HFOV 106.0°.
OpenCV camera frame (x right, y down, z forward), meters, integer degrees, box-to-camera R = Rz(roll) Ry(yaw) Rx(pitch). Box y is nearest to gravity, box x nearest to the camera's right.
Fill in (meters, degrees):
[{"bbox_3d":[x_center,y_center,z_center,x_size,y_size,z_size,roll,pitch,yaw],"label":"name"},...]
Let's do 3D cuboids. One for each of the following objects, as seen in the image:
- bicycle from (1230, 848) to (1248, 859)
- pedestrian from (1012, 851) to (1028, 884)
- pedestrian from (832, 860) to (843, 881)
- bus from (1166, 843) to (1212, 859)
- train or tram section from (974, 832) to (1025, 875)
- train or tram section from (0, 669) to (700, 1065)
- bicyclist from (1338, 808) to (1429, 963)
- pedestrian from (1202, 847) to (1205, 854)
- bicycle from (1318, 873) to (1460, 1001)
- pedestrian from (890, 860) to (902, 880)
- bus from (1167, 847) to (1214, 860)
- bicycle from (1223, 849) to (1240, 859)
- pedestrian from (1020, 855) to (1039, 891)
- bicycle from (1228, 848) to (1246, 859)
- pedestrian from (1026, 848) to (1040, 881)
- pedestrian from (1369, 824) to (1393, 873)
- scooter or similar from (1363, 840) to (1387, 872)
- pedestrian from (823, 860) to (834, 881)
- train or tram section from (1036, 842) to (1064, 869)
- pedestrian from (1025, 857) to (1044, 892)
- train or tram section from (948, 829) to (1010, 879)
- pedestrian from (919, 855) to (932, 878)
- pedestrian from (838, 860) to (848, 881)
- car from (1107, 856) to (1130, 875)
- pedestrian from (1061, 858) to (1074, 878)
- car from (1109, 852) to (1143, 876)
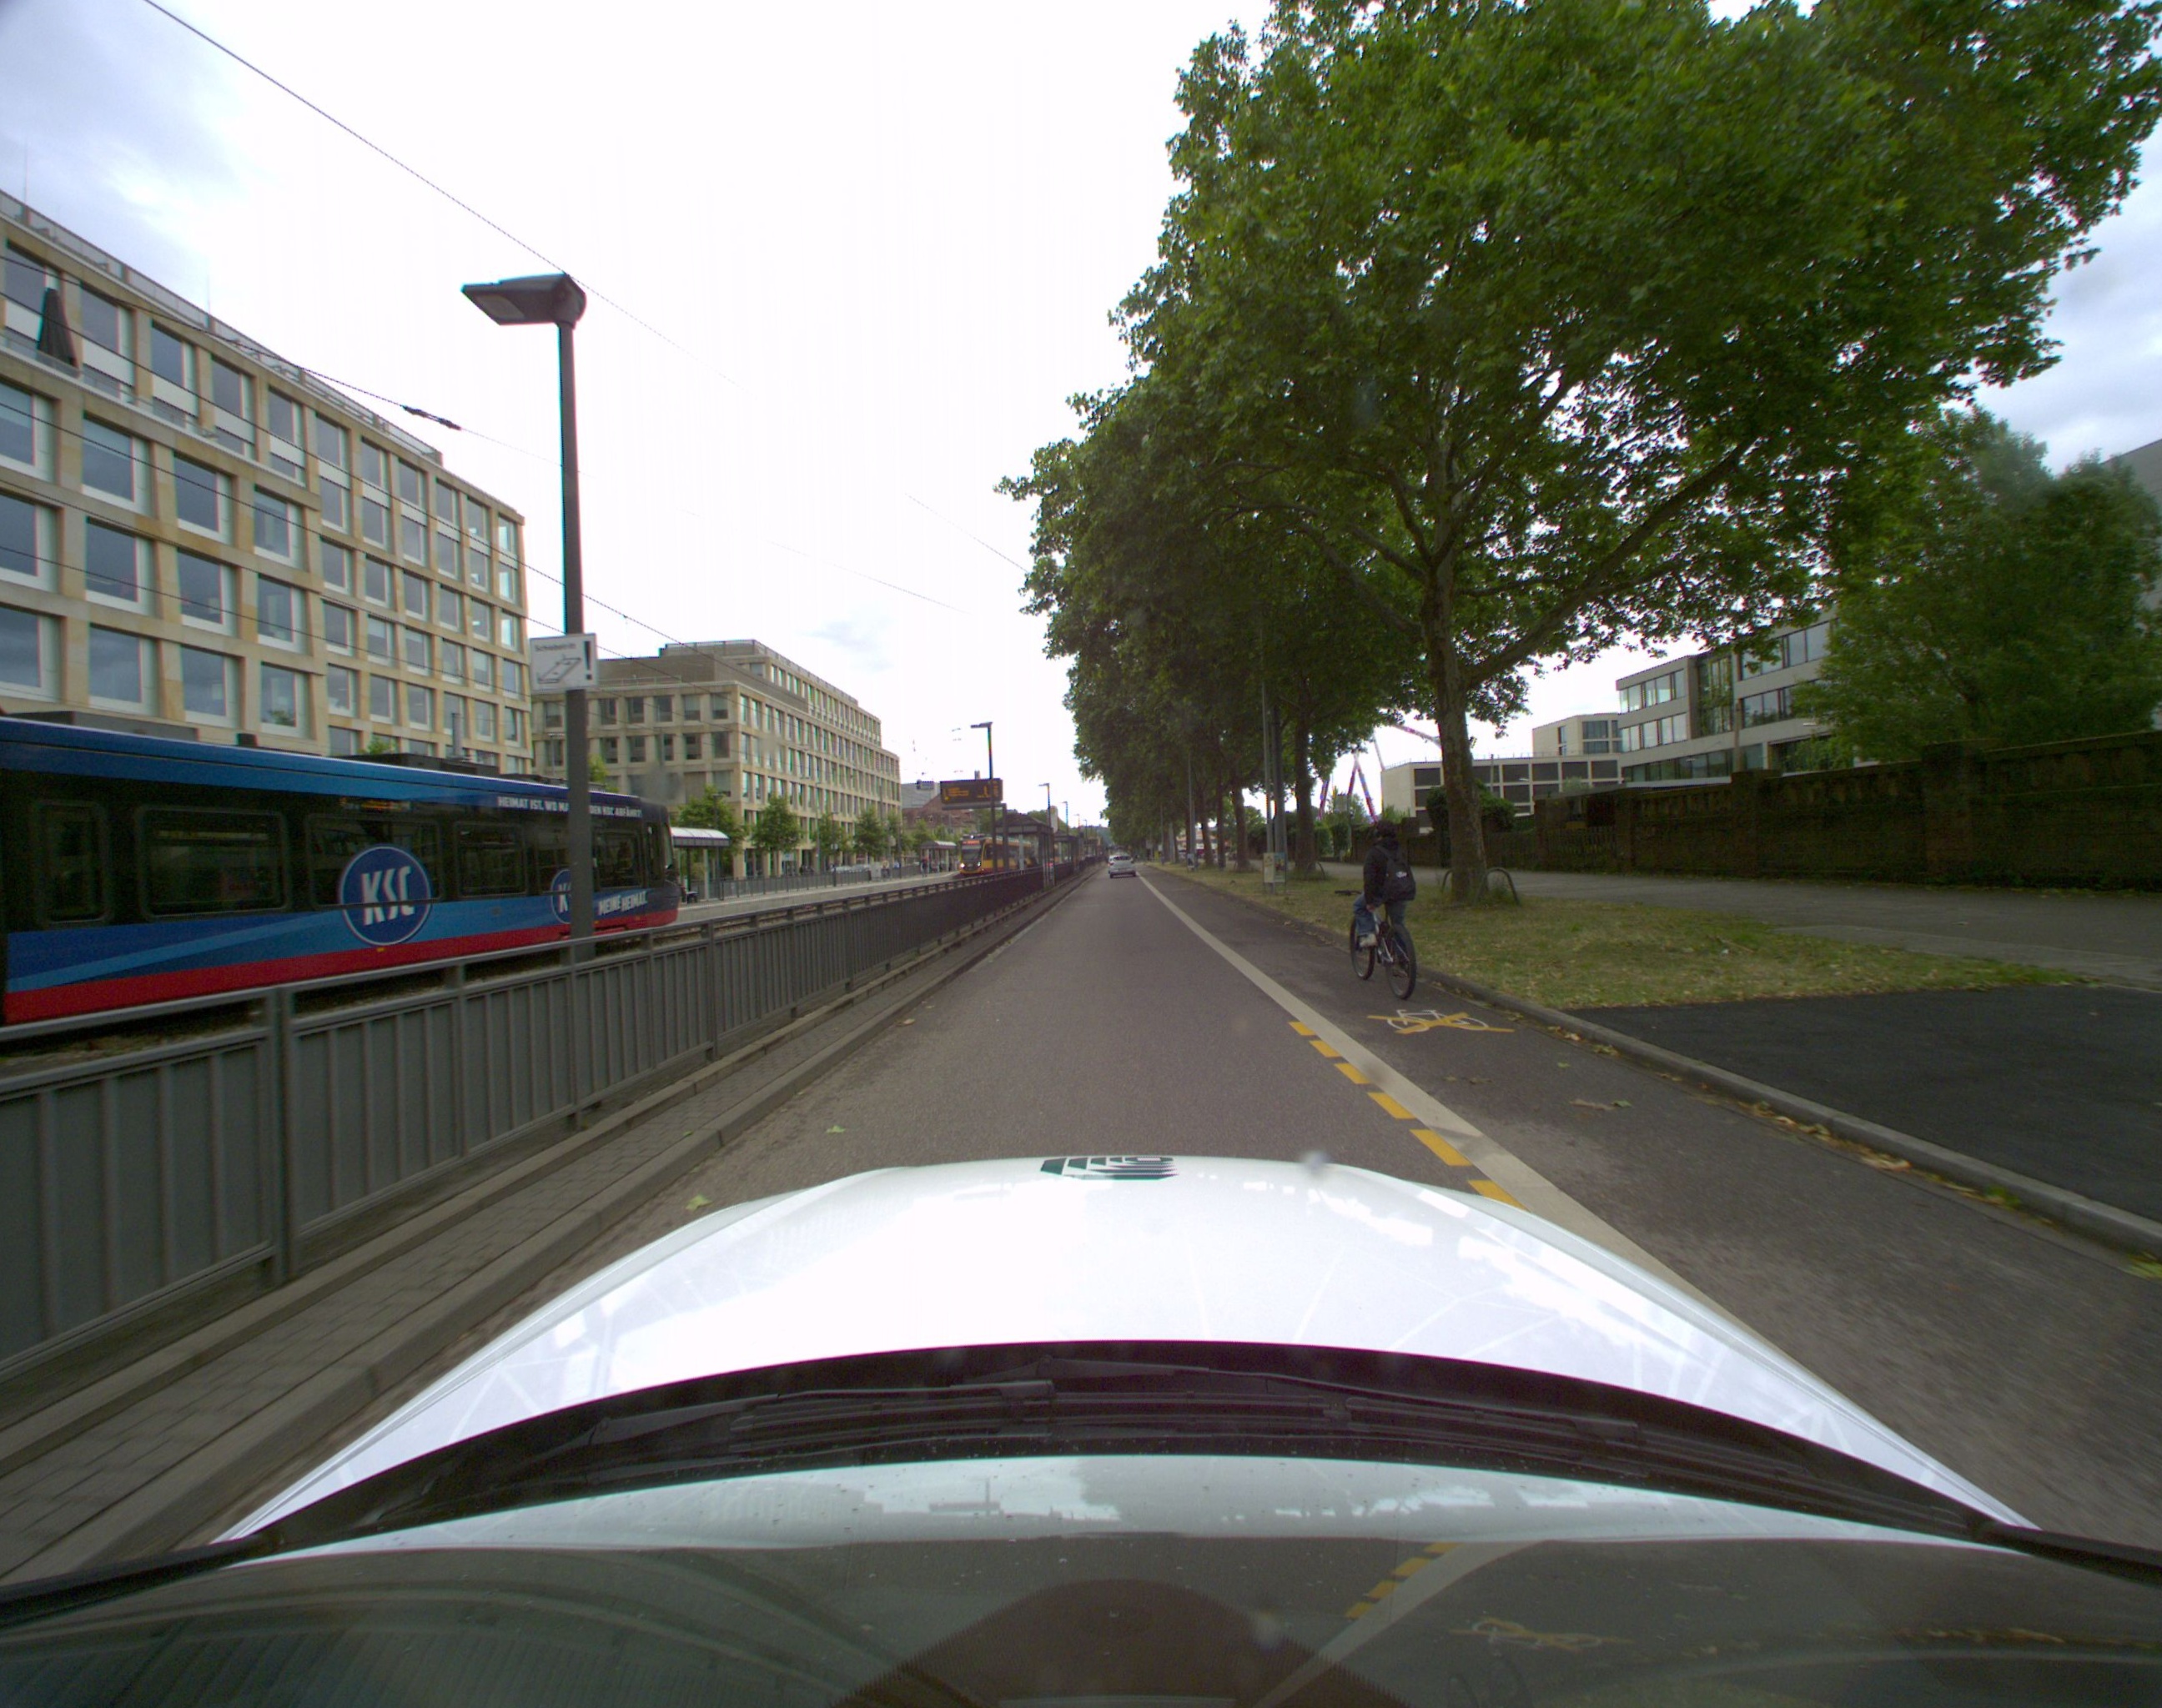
[{"bbox_3d":[17.930,-0.019,92.496,1.883,1.105,0.550,-4,-1,0],"label":"bicycle"},{"bbox_3d":[-3.335,0.735,44.617,0.670,1.793,1.109,-2,-1,-10],"label":"pedestrian"},{"bbox_3d":[-23.412,1.601,78.200,0.710,2.014,0.725,-3,-1,2],"label":"pedestrian"},{"bbox_3d":[22.594,-0.564,170.085,9.247,2.960,2.000,-3,-1,0],"label":"bus"},{"bbox_3d":[-8.052,0.011,82.210,3.150,3.862,11.320,-3,-1,3],"label":"train or tram section"},{"bbox_3d":[-11.277,0.246,13.715,2.844,3.692,13.525,-3,-1,2],"label":"train or tram section"},{"bbox_3d":[3.152,0.318,8.540,0.638,1.531,0.664,-3,-1,0],"label":"bicyclist"},{"bbox_3d":[24.119,-0.710,160.691,0.491,1.463,0.523,-3,-1,0],"label":"pedestrian"},{"bbox_3d":[3.219,0.805,8.780,0.650,1.150,2.283,-3,-1,1],"label":"bicycle"},{"bbox_3d":[-19.161,1.700,84.416,0.929,2.014,1.033,-3,-1,1],"label":"pedestrian"},{"bbox_3d":[22.453,-0.022,166.651,9.247,2.227,2.000,-3,-1,0],"label":"bus"},{"bbox_3d":[18.035,0.023,97.656,1.915,1.091,0.550,-4,-1,0],"label":"bicycle"},{"bbox_3d":[-1.975,0.720,31.191,0.608,1.341,0.600,-3,-1,3],"label":"pedestrian"},{"bbox_3d":[17.956,-0.028,93.712,1.967,1.094,0.550,-4,-1,0],"label":"bicycle"},{"bbox_3d":[-2.701,0.581,45.641,0.669,1.793,1.111,-3,-1,-6],"label":"pedestrian"},{"bbox_3d":[12.636,-0.222,34.329,0.581,2.014,0.924,-3,-1,2],"label":"pedestrian"},{"bbox_3d":[12.768,0.087,35.382,0.574,1.354,1.156,-3,-1,2],"label":"scooter or similar"},{"bbox_3d":[-24.497,1.563,78.953,0.710,2.014,0.725,-3,-1,2],"label":"pedestrian"},{"bbox_3d":[-5.113,0.250,138.224,3.167,4.179,14.745,-3,-1,3],"label":"train or tram section"},{"bbox_3d":[-1.859,0.813,32.473,0.608,1.372,0.600,-3,-1,3],"label":"pedestrian"},{"bbox_3d":[-8.678,0.052,70.857,3.224,3.862,11.320,-3,-1,3],"label":"train or tram section"},{"bbox_3d":[-12.214,0.989,64.017,0.709,1.795,1.161,-3,-1,1],"label":"pedestrian"},{"bbox_3d":[-23.361,1.622,79.896,0.710,2.014,0.725,-3,-1,2],"label":"pedestrian"},{"bbox_3d":[3.380,0.999,73.194,1.832,1.552,4.005,-3,0,4],"label":"car"},{"bbox_3d":[-0.908,0.963,54.754,0.832,1.303,0.613,-3,-1,1],"label":"pedestrian"},{"bbox_3d":[3.076,0.674,55.323,1.875,1.453,4.009,-3,-1,8],"label":"car"}]
